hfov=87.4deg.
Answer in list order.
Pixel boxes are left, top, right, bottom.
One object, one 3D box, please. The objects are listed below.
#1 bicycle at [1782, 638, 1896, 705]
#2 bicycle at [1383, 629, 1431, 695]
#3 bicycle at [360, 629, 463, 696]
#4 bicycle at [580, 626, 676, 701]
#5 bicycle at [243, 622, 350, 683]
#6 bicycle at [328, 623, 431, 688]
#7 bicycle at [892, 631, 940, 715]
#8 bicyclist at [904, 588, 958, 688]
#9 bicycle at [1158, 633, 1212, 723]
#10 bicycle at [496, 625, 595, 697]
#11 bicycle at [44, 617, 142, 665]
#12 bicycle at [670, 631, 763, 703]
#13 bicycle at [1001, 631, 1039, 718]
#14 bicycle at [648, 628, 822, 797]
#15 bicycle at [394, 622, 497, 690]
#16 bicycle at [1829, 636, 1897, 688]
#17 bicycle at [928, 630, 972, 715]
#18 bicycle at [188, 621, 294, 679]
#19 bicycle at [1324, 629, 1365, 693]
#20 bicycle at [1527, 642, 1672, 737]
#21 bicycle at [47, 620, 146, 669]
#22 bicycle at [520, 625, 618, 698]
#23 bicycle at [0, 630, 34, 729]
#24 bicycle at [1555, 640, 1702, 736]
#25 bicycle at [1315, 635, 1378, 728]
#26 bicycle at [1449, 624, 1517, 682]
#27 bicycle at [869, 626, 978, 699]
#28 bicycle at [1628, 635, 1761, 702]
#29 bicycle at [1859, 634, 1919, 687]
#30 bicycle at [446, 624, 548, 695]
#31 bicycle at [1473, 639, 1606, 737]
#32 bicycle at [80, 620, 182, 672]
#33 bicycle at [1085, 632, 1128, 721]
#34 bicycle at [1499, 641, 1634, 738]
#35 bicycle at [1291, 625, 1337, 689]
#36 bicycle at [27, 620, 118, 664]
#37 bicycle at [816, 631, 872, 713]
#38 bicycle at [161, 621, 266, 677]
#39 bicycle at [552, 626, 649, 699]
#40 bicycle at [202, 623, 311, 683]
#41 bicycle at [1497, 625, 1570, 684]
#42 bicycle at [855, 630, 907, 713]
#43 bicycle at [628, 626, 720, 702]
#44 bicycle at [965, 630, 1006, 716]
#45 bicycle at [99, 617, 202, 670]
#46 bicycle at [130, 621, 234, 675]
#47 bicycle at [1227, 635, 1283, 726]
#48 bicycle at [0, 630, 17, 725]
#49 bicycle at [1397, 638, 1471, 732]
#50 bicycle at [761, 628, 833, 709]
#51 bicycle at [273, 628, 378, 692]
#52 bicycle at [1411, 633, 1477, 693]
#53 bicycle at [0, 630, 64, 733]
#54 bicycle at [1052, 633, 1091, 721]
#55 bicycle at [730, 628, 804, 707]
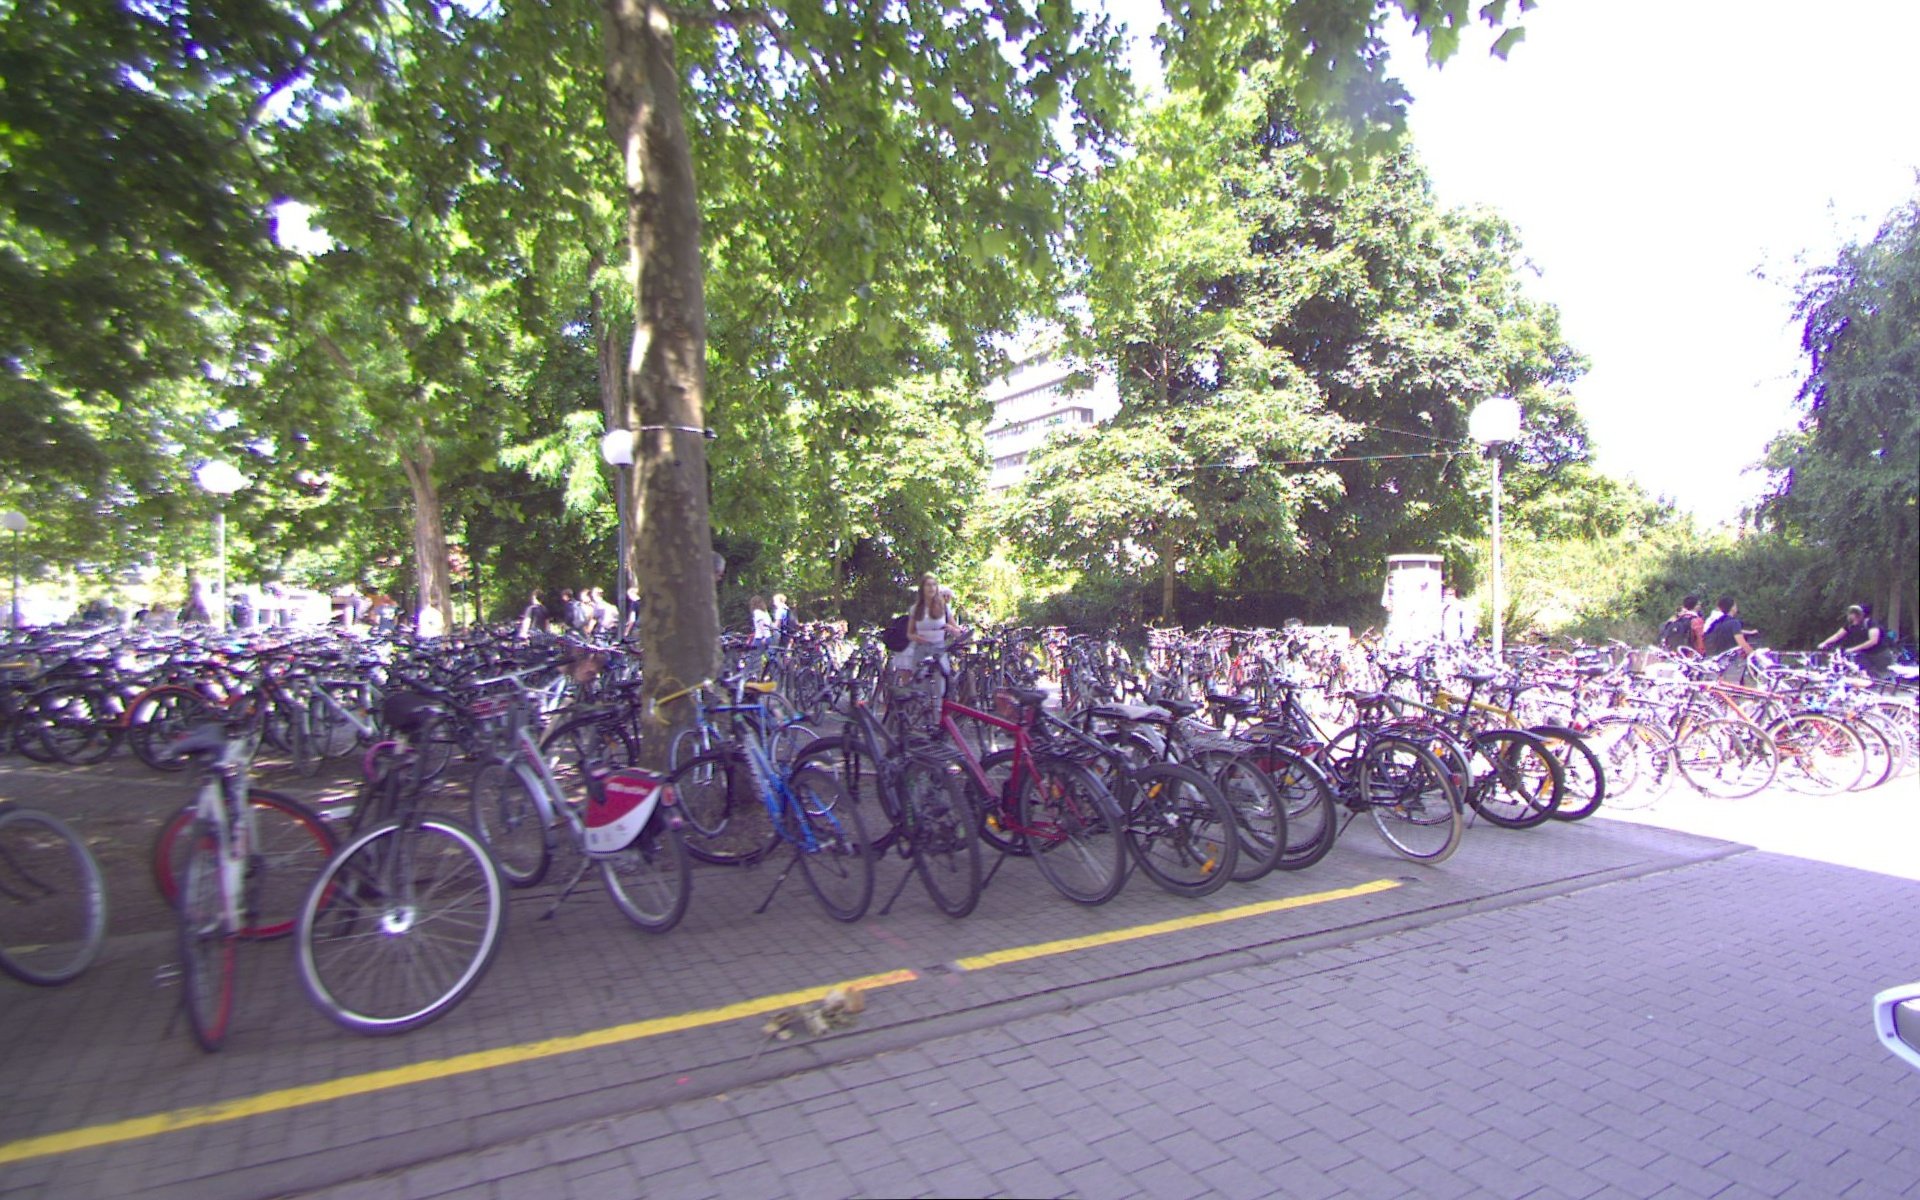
[{"bbox_3d":[15.463,1.259,17.667,1.812,1.125,0.473,1,0,-11],"label":"bicycle"},{"bbox_3d":[8.325,1.126,18.765,0.464,1.125,1.779,1,0,13],"label":"bicycle"},{"bbox_3d":[-9.707,1.088,17.838,0.465,1.098,1.699,1,0,20],"label":"bicycle"},{"bbox_3d":[-5.239,0.971,15.957,0.465,1.098,1.699,1,0,20],"label":"bicycle"},{"bbox_3d":[-12.631,0.981,19.182,0.465,1.098,1.698,1,0,26],"label":"bicycle"},{"bbox_3d":[-10.503,0.983,18.232,0.465,1.098,1.699,1,0,20],"label":"bicycle"},{"bbox_3d":[-0.614,1.015,14.513,0.464,1.098,1.700,1,0,5],"label":"bicycle"},{"bbox_3d":[-0.471,0.609,16.488,0.707,1.589,0.596,1,0,14],"label":"bicyclist"},{"bbox_3d":[3.038,1.016,13.660,0.464,1.098,1.700,1,0,5],"label":"bicycle"},{"bbox_3d":[-6.789,0.975,16.537,0.465,1.098,1.699,1,0,20],"label":"bicycle"},{"bbox_3d":[-20.652,0.962,23.950,0.466,1.098,1.696,1,0,30],"label":"bicycle"},{"bbox_3d":[-3.626,0.979,15.111,0.443,0.975,1.740,1,0,20],"label":"bicycle"},{"bbox_3d":[0.862,1.010,14.163,0.464,1.098,1.700,1,0,5],"label":"bicycle"},{"bbox_3d":[-1.805,0.860,8.347,0.564,1.215,1.699,1,0,20],"label":"bicycle"},{"bbox_3d":[-8.834,0.933,17.326,0.465,1.098,1.699,1,0,20],"label":"bicycle"},{"bbox_3d":[20.105,1.361,22.398,0.465,1.061,1.700,1,0,19],"label":"bicycle"},{"bbox_3d":[-0.125,1.007,14.482,0.464,1.098,1.700,1,0,5],"label":"bicycle"},{"bbox_3d":[-14.480,0.988,20.270,0.466,1.098,1.696,1,0,30],"label":"bicycle"},{"bbox_3d":[7.310,1.128,19.155,0.464,1.125,1.779,1,0,13],"label":"bicycle"},{"bbox_3d":[8.309,1.128,13.140,0.466,1.098,1.718,1,0,-15],"label":"bicycle"},{"bbox_3d":[-20.271,1.023,23.612,0.466,1.098,1.696,1,0,30],"label":"bicycle"},{"bbox_3d":[-6.349,0.977,16.393,0.465,1.098,1.699,1,0,20],"label":"bicycle"},{"bbox_3d":[-11.525,0.907,11.052,0.493,1.123,1.905,1,0,26],"label":"bicycle"},{"bbox_3d":[8.793,1.129,13.301,0.466,1.125,1.693,1,0,-17],"label":"bicycle"},{"bbox_3d":[5.094,1.043,13.303,0.464,1.098,1.701,1,0,11],"label":"bicycle"},{"bbox_3d":[10.932,1.091,21.057,0.465,1.125,1.777,1,0,-1],"label":"bicycle"},{"bbox_3d":[-0.599,1.010,16.515,1.665,1.098,0.604,1,0,15],"label":"bicycle"},{"bbox_3d":[13.166,1.215,18.069,1.876,1.061,0.540,1,2,33],"label":"bicycle"},{"bbox_3d":[20.717,1.318,22.294,0.465,1.061,1.699,3,1,19],"label":"bicycle"},{"bbox_3d":[-7.733,0.969,16.865,0.465,1.098,1.699,1,0,20],"label":"bicycle"},{"bbox_3d":[7.311,1.080,12.758,0.466,1.098,1.696,1,0,-10],"label":"bicycle"},{"bbox_3d":[-18.512,1.008,22.476,0.466,1.098,1.696,1,0,30],"label":"bicycle"},{"bbox_3d":[2.016,1.023,13.945,0.464,1.098,1.700,1,0,5],"label":"bicycle"},{"bbox_3d":[7.789,1.118,12.985,0.466,1.098,1.696,1,0,-10],"label":"bicycle"},{"bbox_3d":[6.795,1.067,19.338,0.464,1.125,1.779,1,0,8],"label":"bicycle"},{"bbox_3d":[-22.986,1.069,26.037,0.466,1.098,1.696,1,0,30],"label":"bicycle"},{"bbox_3d":[-1.690,1.026,14.825,0.464,1.098,1.700,1,0,5],"label":"bicycle"},{"bbox_3d":[-15.516,0.994,20.921,0.466,1.098,1.696,1,0,30],"label":"bicycle"},{"bbox_3d":[-5.768,0.977,16.207,0.465,1.098,1.699,1,0,20],"label":"bicycle"},{"bbox_3d":[-13.719,1.015,19.630,0.466,1.098,1.696,1,0,30],"label":"bicycle"},{"bbox_3d":[11.985,1.118,21.044,0.465,1.125,1.777,1,0,-1],"label":"bicycle"},{"bbox_3d":[-1.126,1.004,14.666,0.464,1.098,1.700,1,0,5],"label":"bicycle"},{"bbox_3d":[-4.457,0.975,15.769,0.465,1.098,1.699,1,0,20],"label":"bicycle"},{"bbox_3d":[0.376,0.998,14.179,0.464,1.098,1.700,1,0,5],"label":"bicycle"},{"bbox_3d":[-17.616,0.934,21.897,0.466,1.098,1.696,1,0,30],"label":"bicycle"},{"bbox_3d":[-16.707,1.006,21.610,0.466,1.098,1.696,1,0,30],"label":"bicycle"},{"bbox_3d":[3.998,1.060,13.703,0.464,1.098,1.701,1,0,8],"label":"bicycle"},{"bbox_3d":[-12.081,0.922,11.432,0.494,1.123,1.903,1,0,29],"label":"bicycle"},{"bbox_3d":[6.219,1.082,13.241,0.464,1.098,1.701,1,0,11],"label":"bicycle"},{"bbox_3d":[-2.418,0.996,15.097,0.464,1.098,1.701,1,0,12],"label":"bicycle"},{"bbox_3d":[-11.775,1.084,18.702,0.465,1.098,1.699,1,0,20],"label":"bicycle"},{"bbox_3d":[10.066,1.288,20.943,0.465,1.125,1.777,1,0,-1],"label":"bicycle"},{"bbox_3d":[-11.016,0.902,10.880,0.493,1.123,1.905,1,0,26],"label":"bicycle"},{"bbox_3d":[1.540,1.036,14.013,0.464,1.098,1.700,1,0,5],"label":"bicycle"},{"bbox_3d":[-2.905,0.995,15.274,0.464,1.098,1.701,1,0,12],"label":"bicycle"}]
